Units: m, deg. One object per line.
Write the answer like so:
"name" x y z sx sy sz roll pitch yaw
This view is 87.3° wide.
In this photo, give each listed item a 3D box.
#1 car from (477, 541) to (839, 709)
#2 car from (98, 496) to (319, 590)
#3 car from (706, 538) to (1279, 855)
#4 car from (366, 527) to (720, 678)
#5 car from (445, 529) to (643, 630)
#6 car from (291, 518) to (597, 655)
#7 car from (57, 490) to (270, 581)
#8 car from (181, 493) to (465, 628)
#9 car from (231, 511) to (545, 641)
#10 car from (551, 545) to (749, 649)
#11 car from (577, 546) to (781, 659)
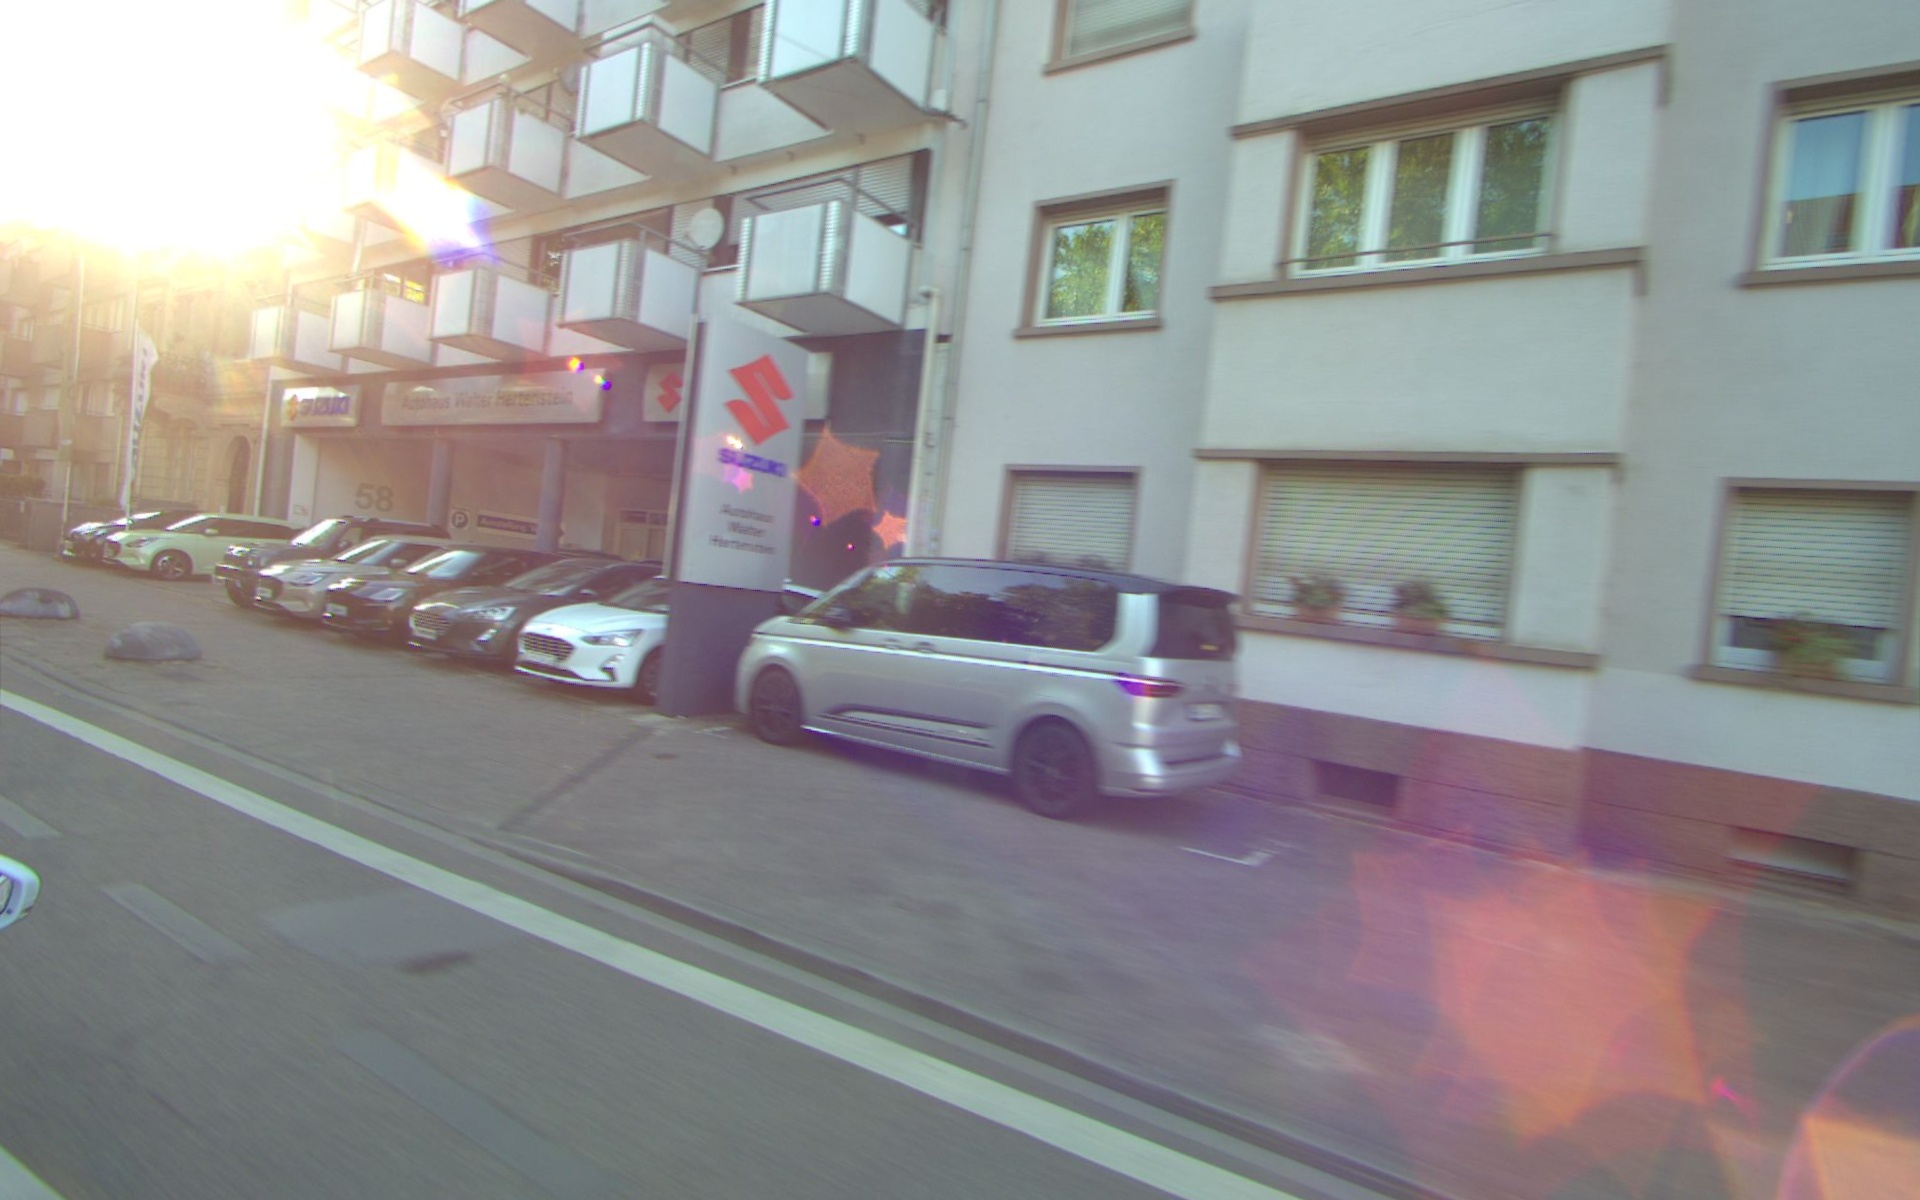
"car" -3.447 0.348 12.169 1.881 1.519 3.817 8 0 30
"car" -16.135 -1.184 21.721 1.731 1.537 3.417 6 -1 37
"car" 0.074 0.633 9.047 4.828 1.972 1.891 6 0 38
"car" -5.314 0.119 13.280 1.780 1.532 3.871 8 0 33
"car" -8.869 -0.428 21.714 3.541 1.677 1.614 7 1 -12
"car" -7.251 -0.120 14.436 1.712 1.544 3.422 7 0 31
"car" -17.934 -1.405 22.780 1.419 1.565 3.421 6 -1 33
"car" -10.588 -0.598 16.928 1.656 1.741 3.580 9 1 37
"car" -8.896 -0.310 15.938 1.829 1.559 3.822 7 0 33
"car" -6.049 -0.049 19.991 3.468 1.583 1.606 7 0 -12
"car" -5.010 0.045 18.265 3.294 1.583 1.501 7 1 -12
